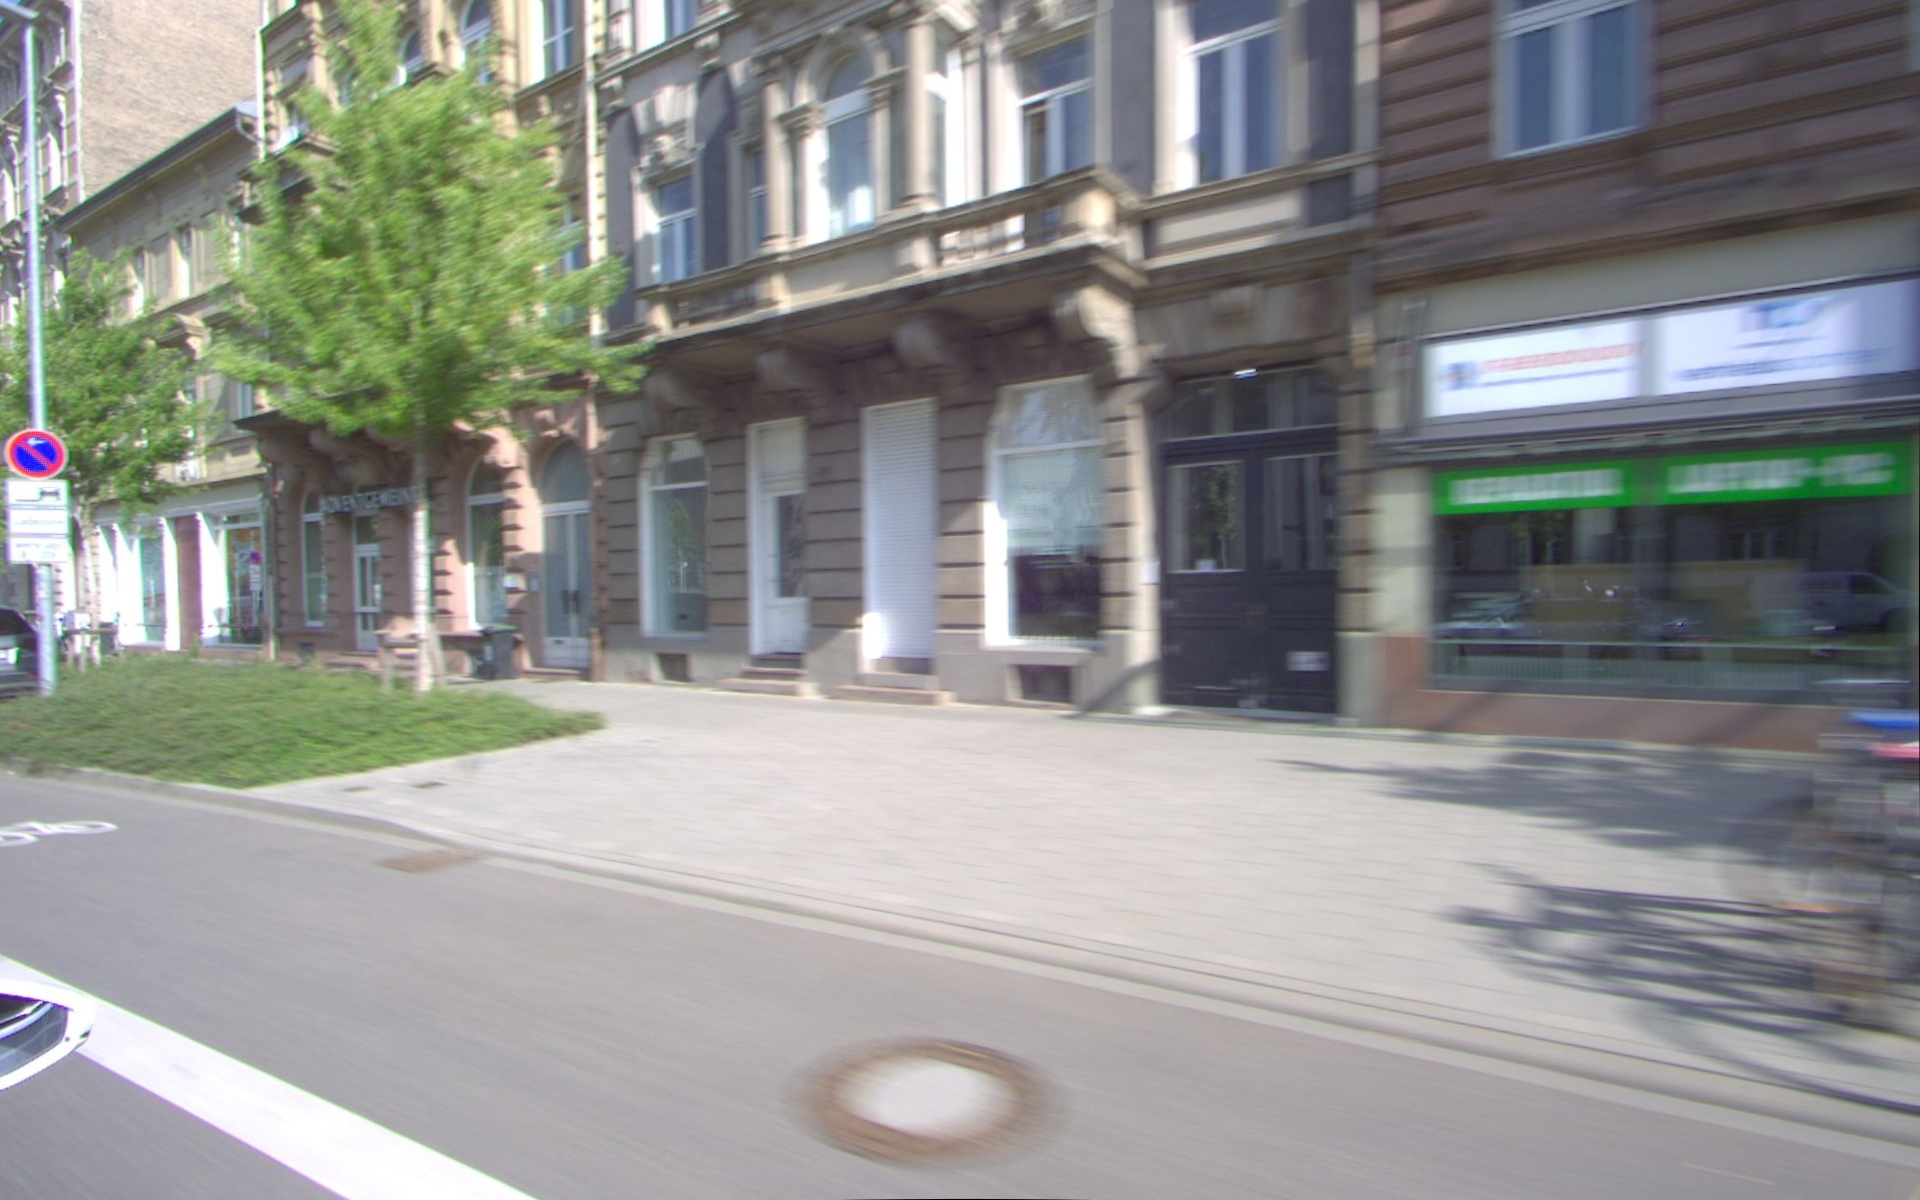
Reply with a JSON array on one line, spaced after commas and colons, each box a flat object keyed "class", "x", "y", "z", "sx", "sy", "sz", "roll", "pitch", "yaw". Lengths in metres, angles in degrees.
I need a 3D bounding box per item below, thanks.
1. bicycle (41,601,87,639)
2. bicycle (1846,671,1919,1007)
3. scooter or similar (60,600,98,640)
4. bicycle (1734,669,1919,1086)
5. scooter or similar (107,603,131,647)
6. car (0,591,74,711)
[{"class": "bicycle", "x": -26.717, "y": 0.591, "z": 29.855, "sx": 1.424, "sy": 1.098, "sz": 0.451, "roll": 0, "pitch": 1, "yaw": 24}, {"class": "bicycle", "x": 3.588, "y": 0.877, "z": 3.524, "sx": 0.367, "sy": 1.068, "sz": 1.780, "roll": 1, "pitch": 3, "yaw": 31}, {"class": "scooter or similar", "x": -25.653, "y": 0.581, "z": 29.155, "sx": 0.918, "sy": 1.140, "sz": 0.605, "roll": 0, "pitch": 1, "yaw": 33}, {"class": "bicycle", "x": 3.262, "y": 0.880, "z": 3.742, "sx": 0.367, "sy": 1.068, "sz": 1.780, "roll": 1, "pitch": 3, "yaw": 31}, {"class": "scooter or similar", "x": -22.510, "y": 0.651, "z": 26.806, "sx": 1.075, "sy": 1.149, "sz": 0.287, "roll": 1, "pitch": 1, "yaw": 39}, {"class": "car", "x": -14.803, "y": 0.693, "z": 14.430, "sx": 4.183, "sy": 1.610, "sz": 1.766, "roll": 0, "pitch": 2, "yaw": 30}]
